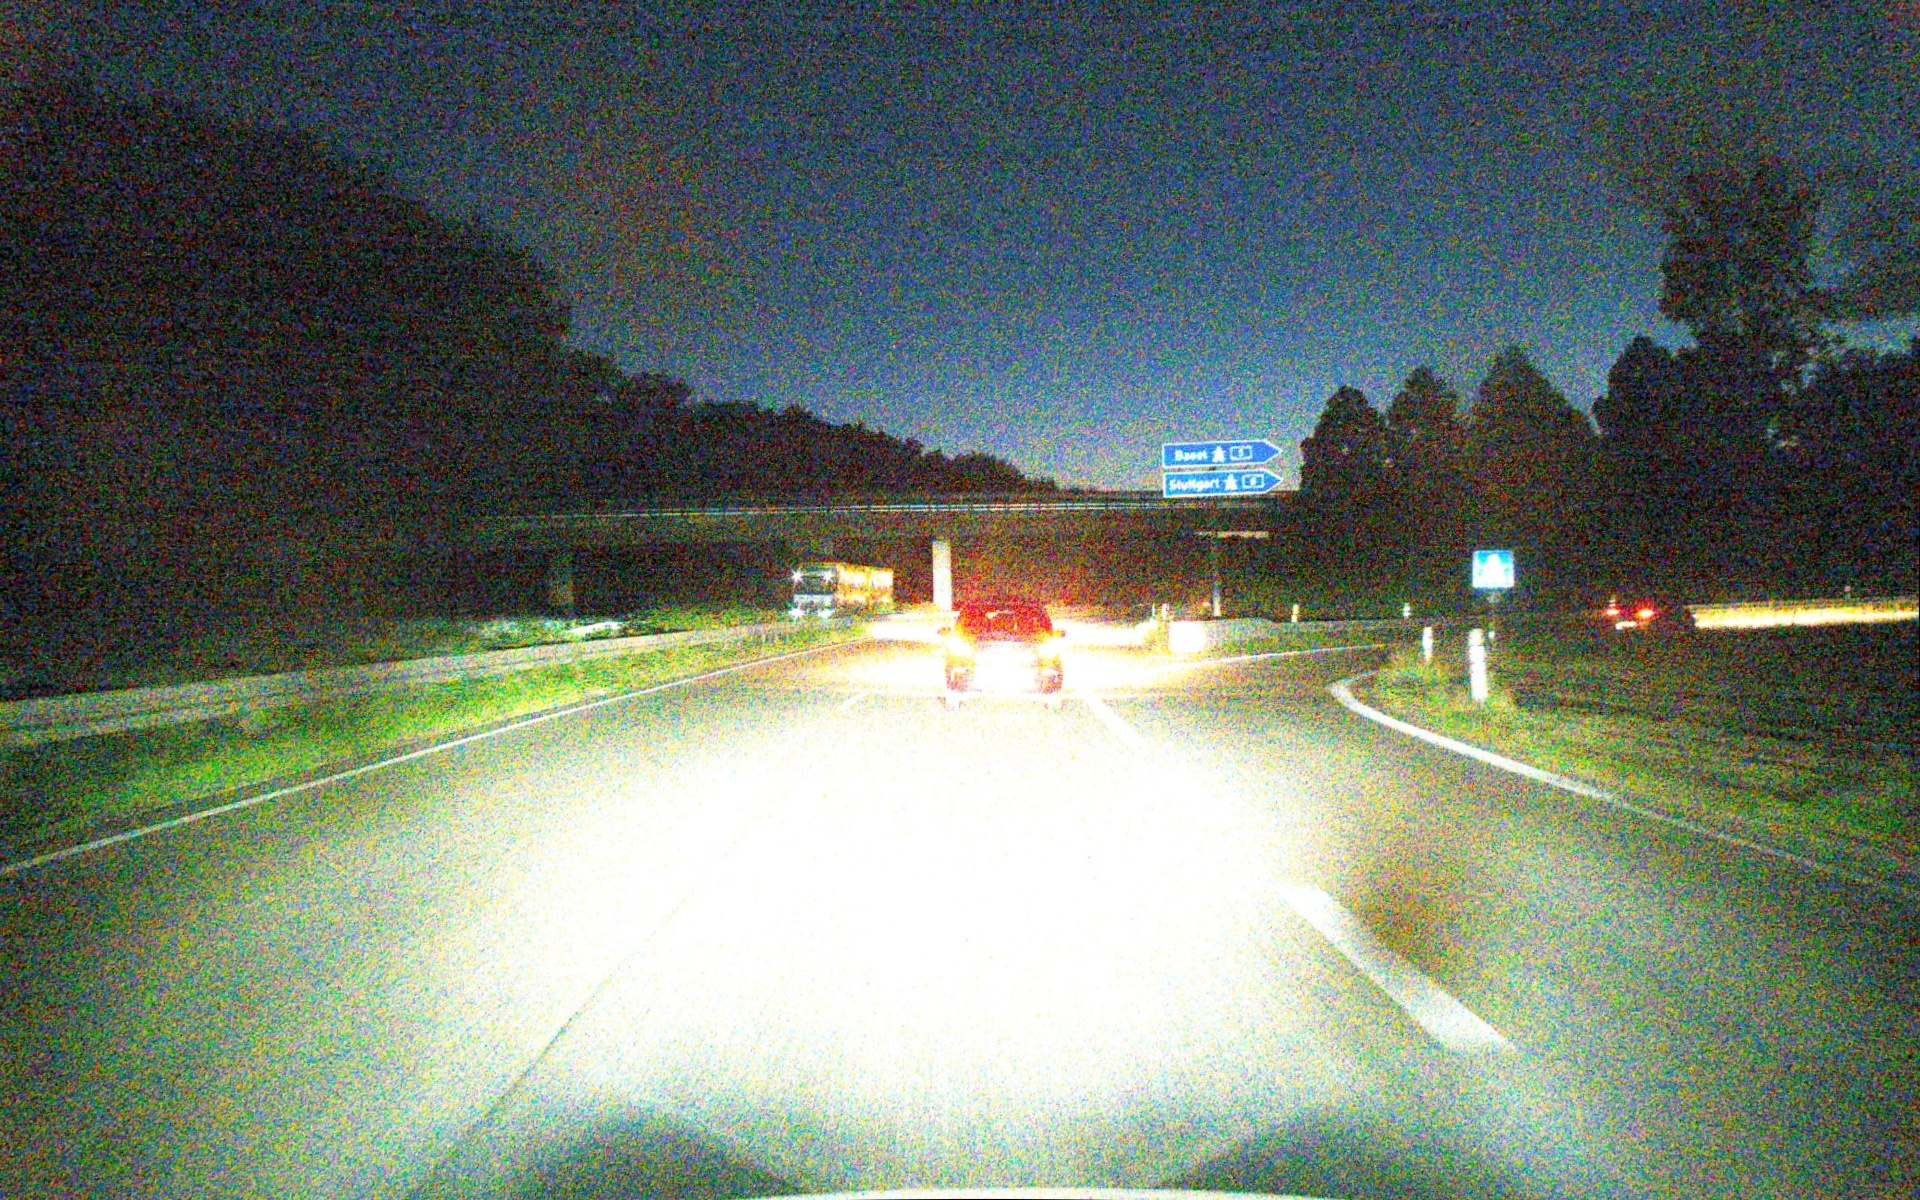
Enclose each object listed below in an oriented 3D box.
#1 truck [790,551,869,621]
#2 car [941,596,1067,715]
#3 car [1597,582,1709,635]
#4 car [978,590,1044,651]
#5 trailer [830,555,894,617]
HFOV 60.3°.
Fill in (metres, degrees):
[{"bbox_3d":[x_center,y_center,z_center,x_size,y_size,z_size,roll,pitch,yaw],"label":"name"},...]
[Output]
[{"bbox_3d":[-8.140,-0.879,104.797,2.623,4.115,10.663,-1,0,8],"label":"truck"},{"bbox_3d":[0.551,0.722,23.596,1.556,1.534,3.999,1,0,-2],"label":"car"},{"bbox_3d":[25.475,0.305,60.762,4.218,1.847,1.913,-1,0,-37],"label":"car"},{"bbox_3d":[1.507,0.566,49.555,1.867,1.728,4.001,-1,0,1],"label":"car"},{"bbox_3d":[-6.695,-0.972,114.509,2.659,4.025,9.054,-1,0,7],"label":"trailer"}]
